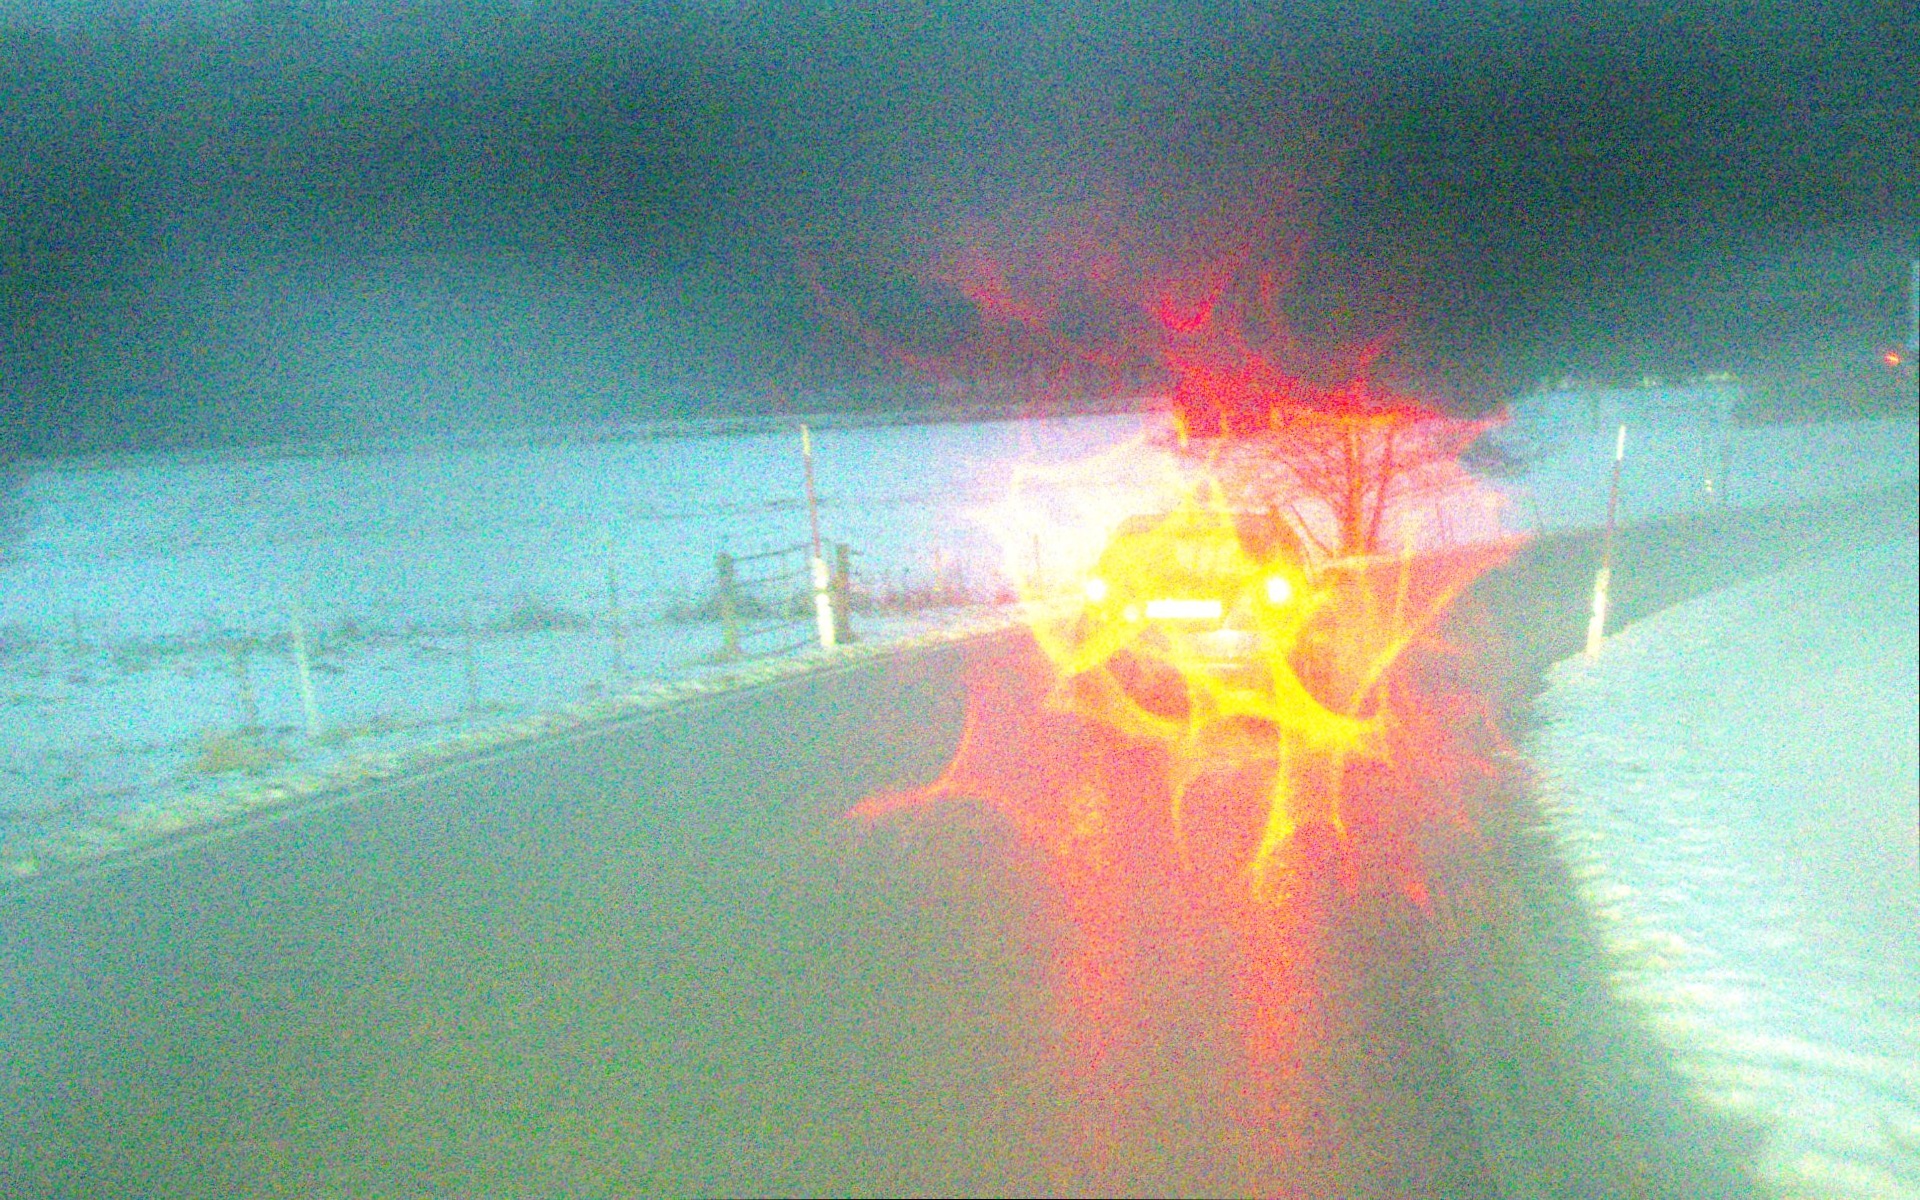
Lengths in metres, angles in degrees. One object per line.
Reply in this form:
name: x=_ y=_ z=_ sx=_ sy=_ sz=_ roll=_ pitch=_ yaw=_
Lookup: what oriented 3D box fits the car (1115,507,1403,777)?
car: x=2.269 y=0.257 z=25.322 sx=1.823 sy=1.790 sz=3.576 roll=-2 pitch=1 yaw=9
